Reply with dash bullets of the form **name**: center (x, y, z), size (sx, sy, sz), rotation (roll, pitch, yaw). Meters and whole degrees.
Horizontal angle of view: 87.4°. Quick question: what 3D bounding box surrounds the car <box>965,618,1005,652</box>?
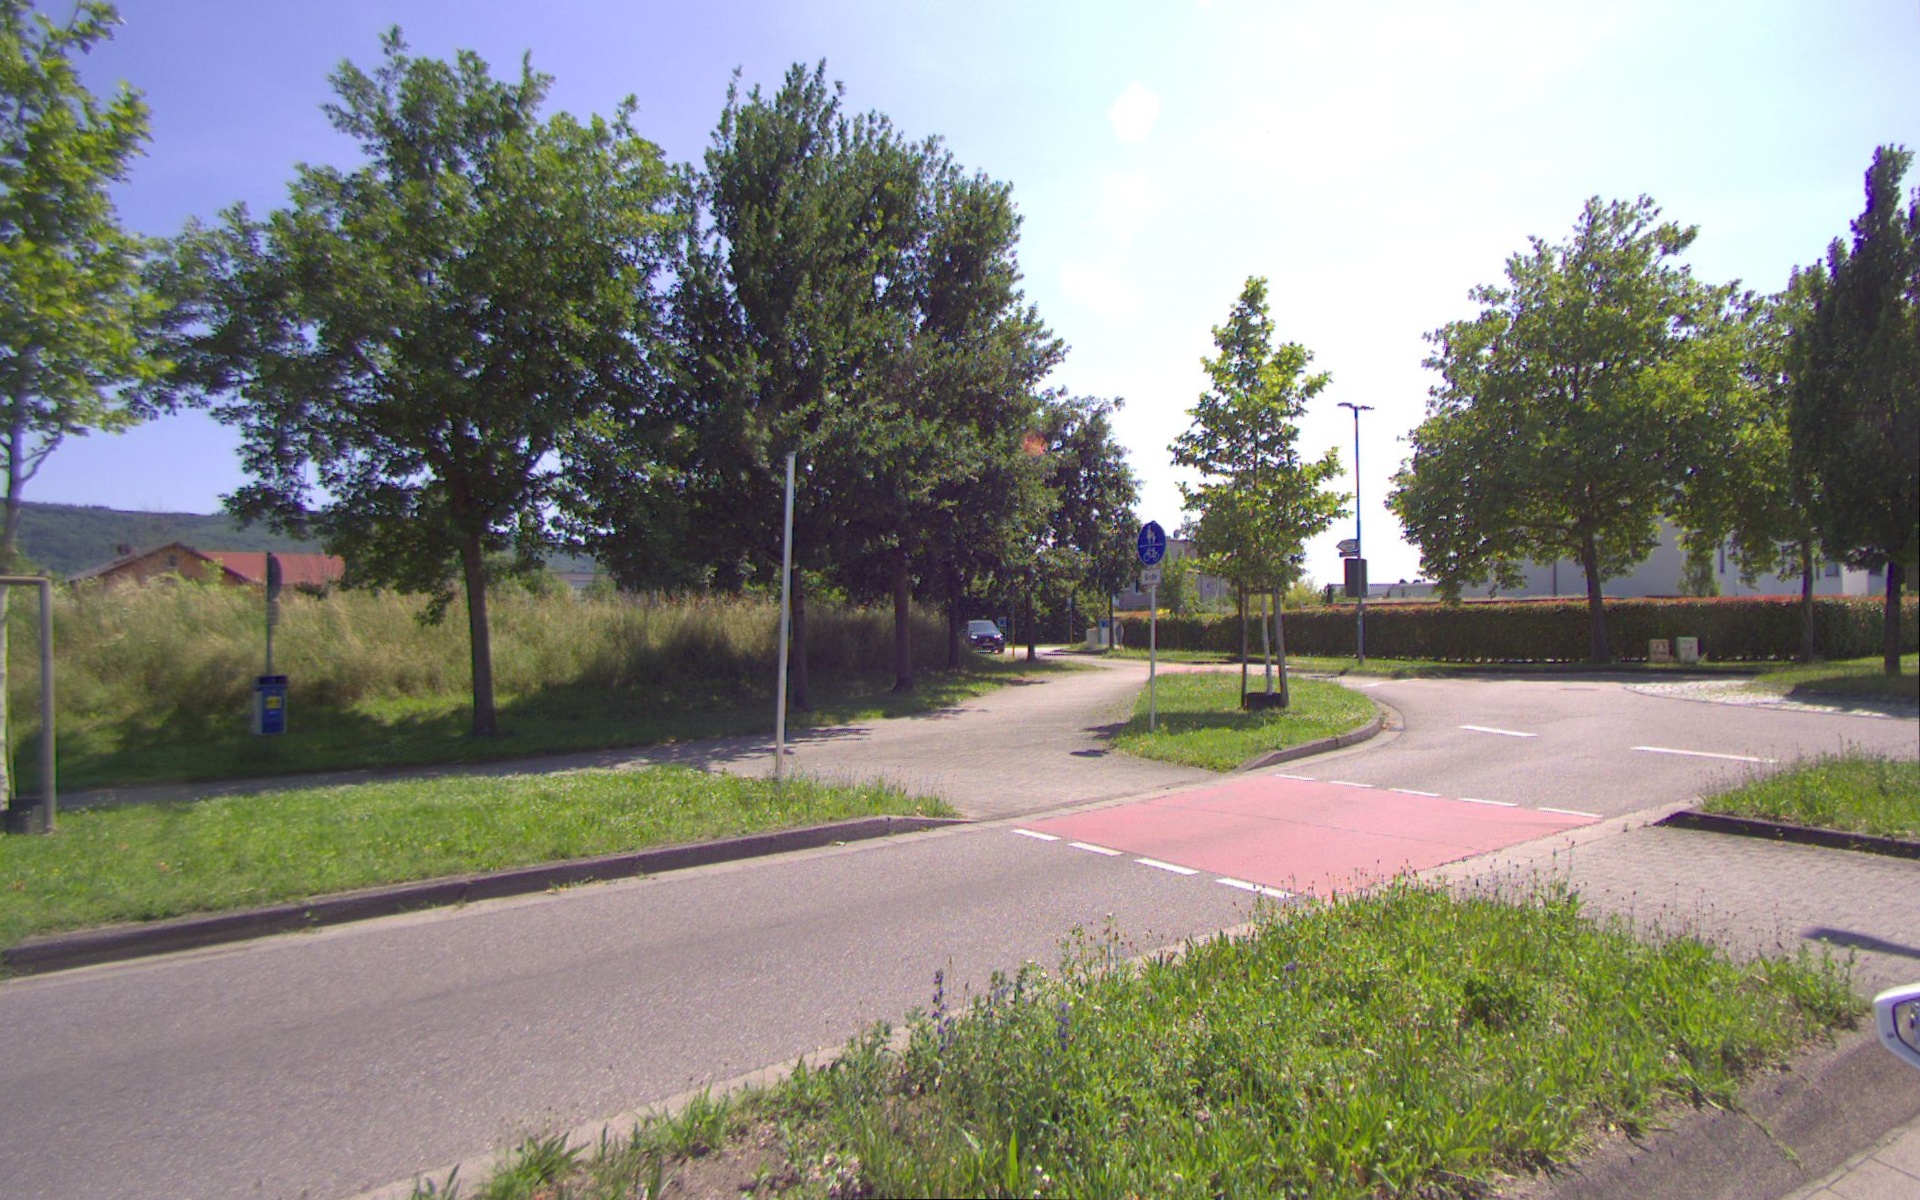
- **car**: center (1.264, 1.670, 49.082), size (1.829, 1.589, 4.489), rotation (0, -1, 3)
